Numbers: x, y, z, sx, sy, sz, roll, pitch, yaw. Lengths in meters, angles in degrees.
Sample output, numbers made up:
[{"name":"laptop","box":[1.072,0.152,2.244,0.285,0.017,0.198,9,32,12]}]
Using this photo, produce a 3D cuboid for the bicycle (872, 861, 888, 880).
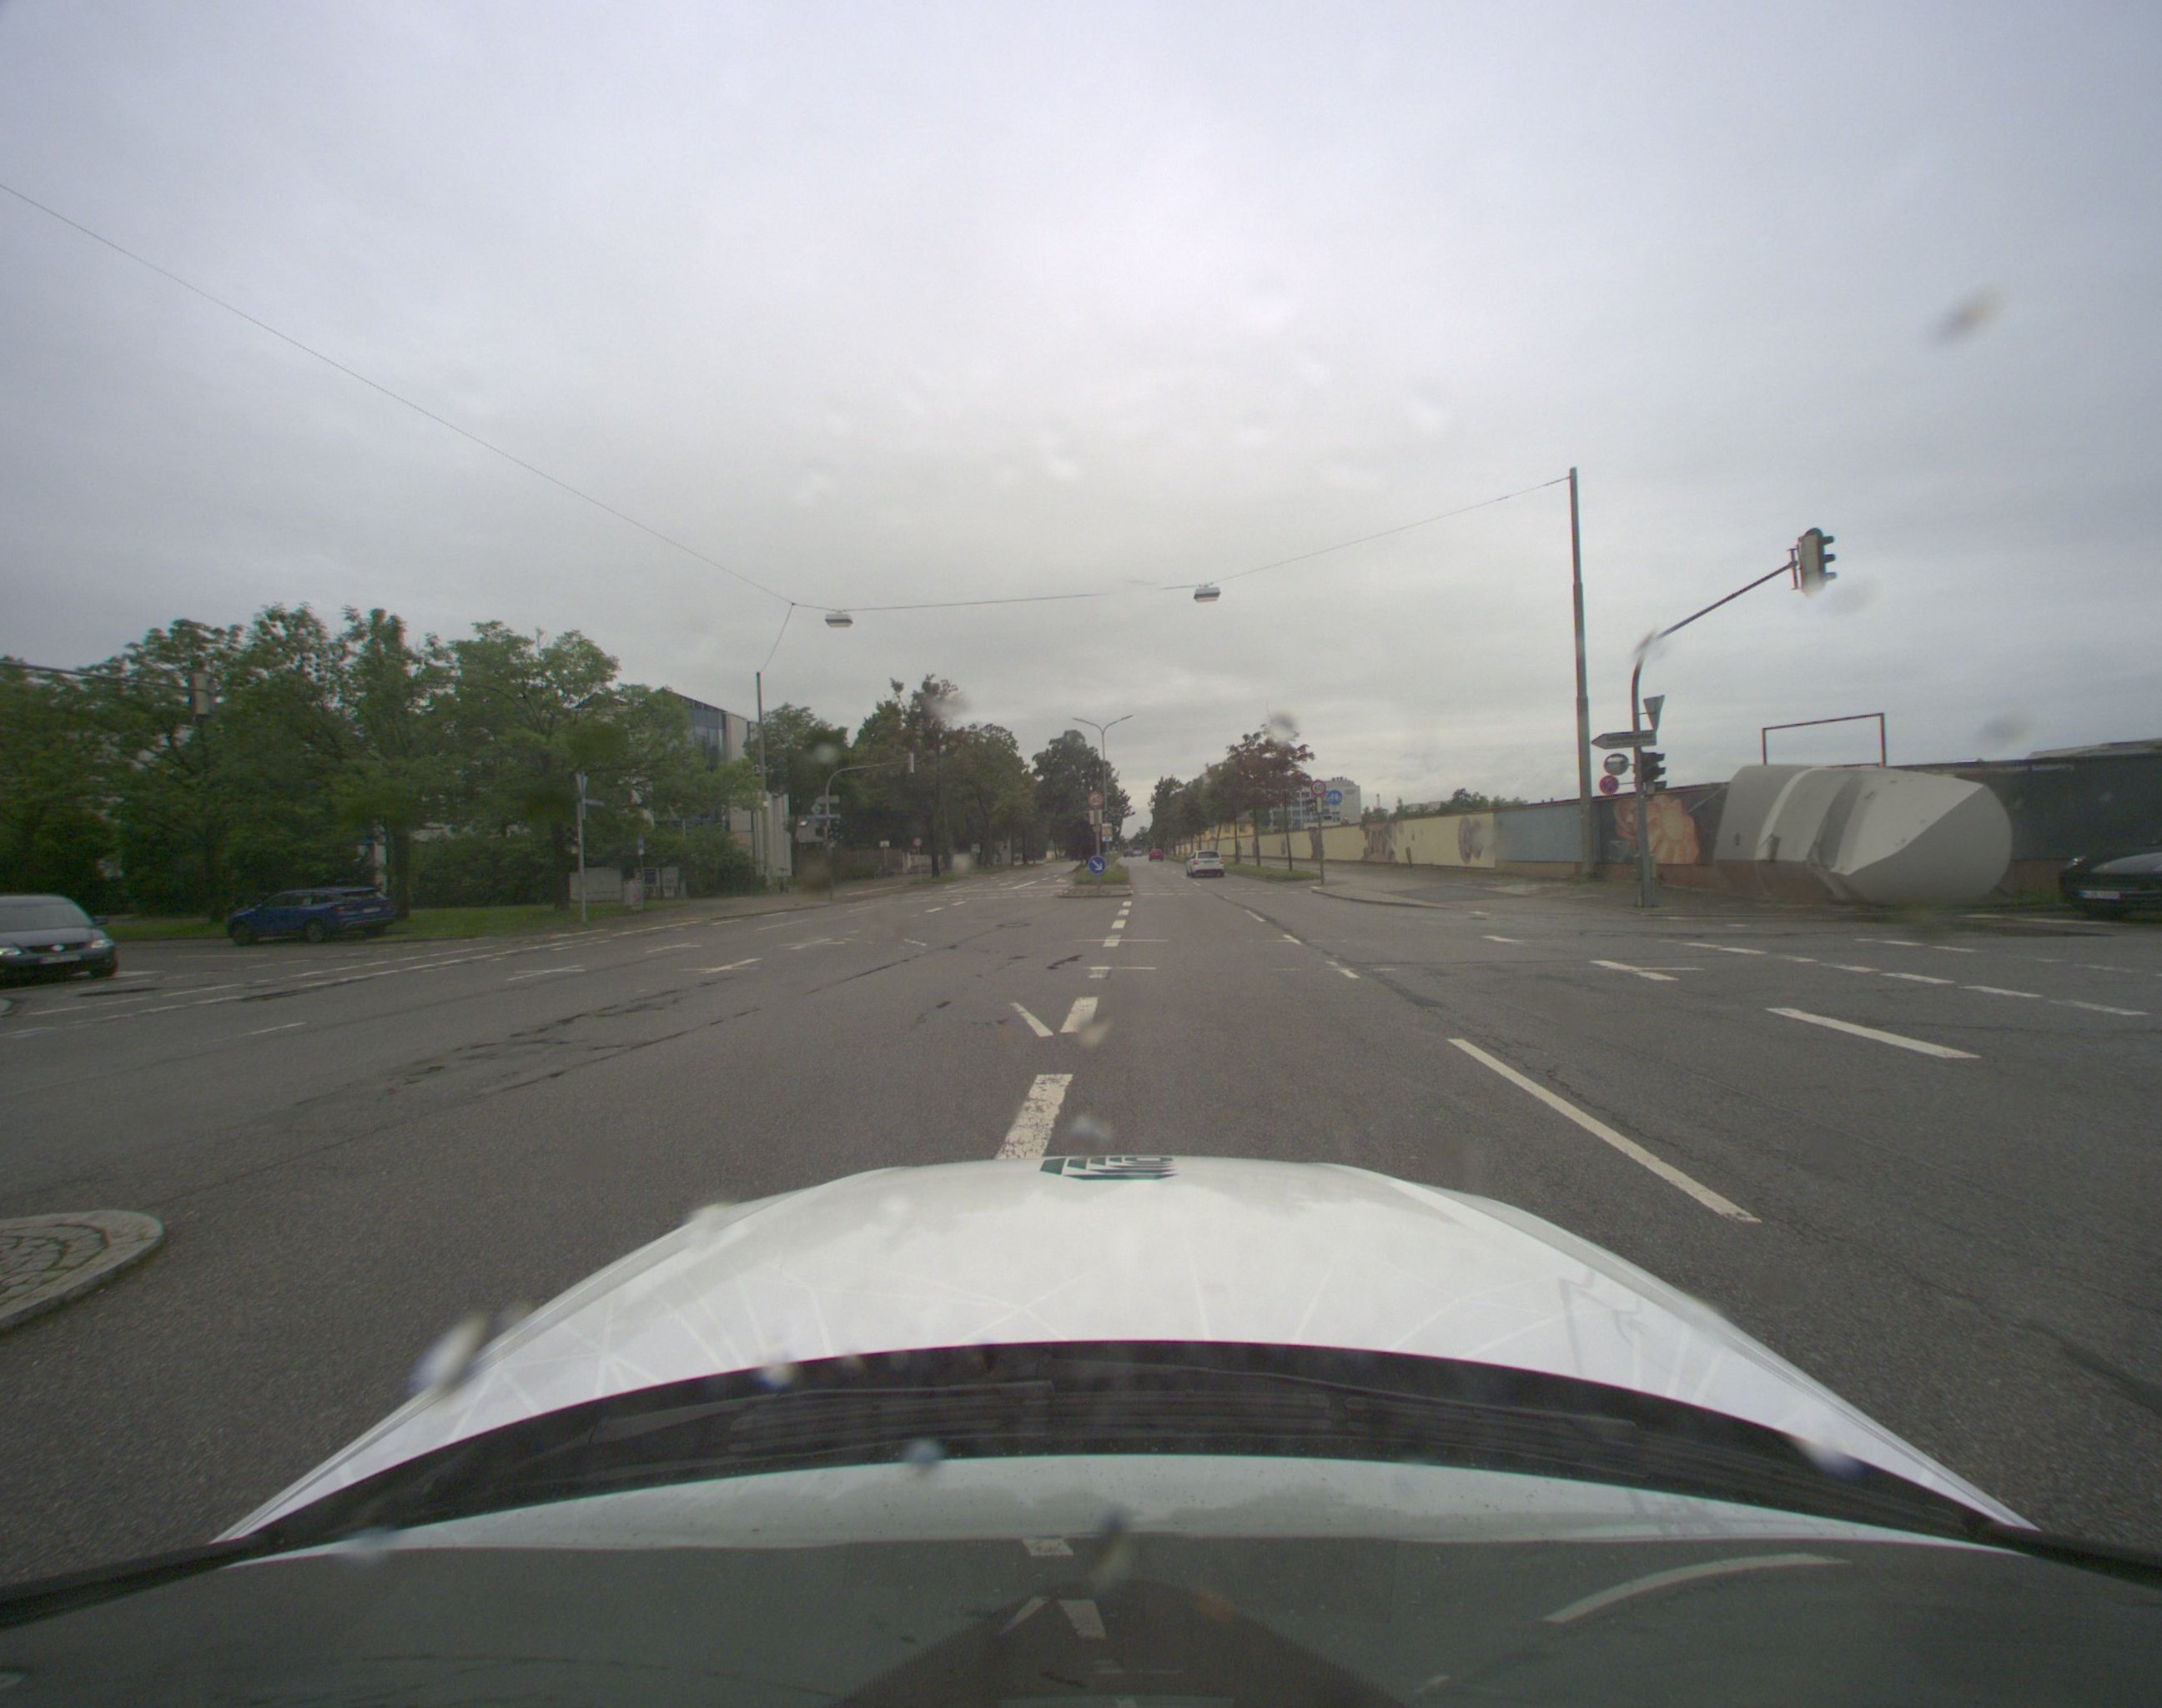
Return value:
[{"name":"bicycle","box":[-15.157,1.233,61.487,0.580,1.295,2.454,-1,0,1]}]

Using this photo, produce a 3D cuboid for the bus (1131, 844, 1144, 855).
[{"name":"bus","box":[16.200,-1.374,235.264,3.209,3.127,10.349,-1,0,2]}]

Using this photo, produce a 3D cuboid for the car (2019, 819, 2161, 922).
[{"name":"car","box":[17.572,0.149,12.311,4.230,1.428,2.003,-3,0,5]}]

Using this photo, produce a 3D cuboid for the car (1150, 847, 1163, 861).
[{"name":"car","box":[10.201,0.000,109.625,1.478,1.715,3.552,-1,0,2]}]

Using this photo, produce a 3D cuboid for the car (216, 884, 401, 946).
[{"name":"car","box":[-24.156,1.892,25.539,4.241,1.574,2.007,-3,2,11]}]

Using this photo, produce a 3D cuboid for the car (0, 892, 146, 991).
[{"name":"car","box":[-21.902,1.785,16.903,4.731,1.723,2.012,-3,-1,25]}]

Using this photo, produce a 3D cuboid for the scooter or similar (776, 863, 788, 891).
[{"name":"scooter or similar","box":[-15.488,1.173,42.202,0.370,1.424,1.399,-1,0,-12]}]

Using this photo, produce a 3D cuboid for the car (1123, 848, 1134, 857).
[{"name":"car","box":[9.930,-0.372,169.454,2.076,1.866,4.388,-1,0,2]}]

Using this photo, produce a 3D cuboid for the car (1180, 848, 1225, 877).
[{"name":"car","box":[6.576,0.411,44.485,1.871,1.468,4.503,-1,0,1]}]
